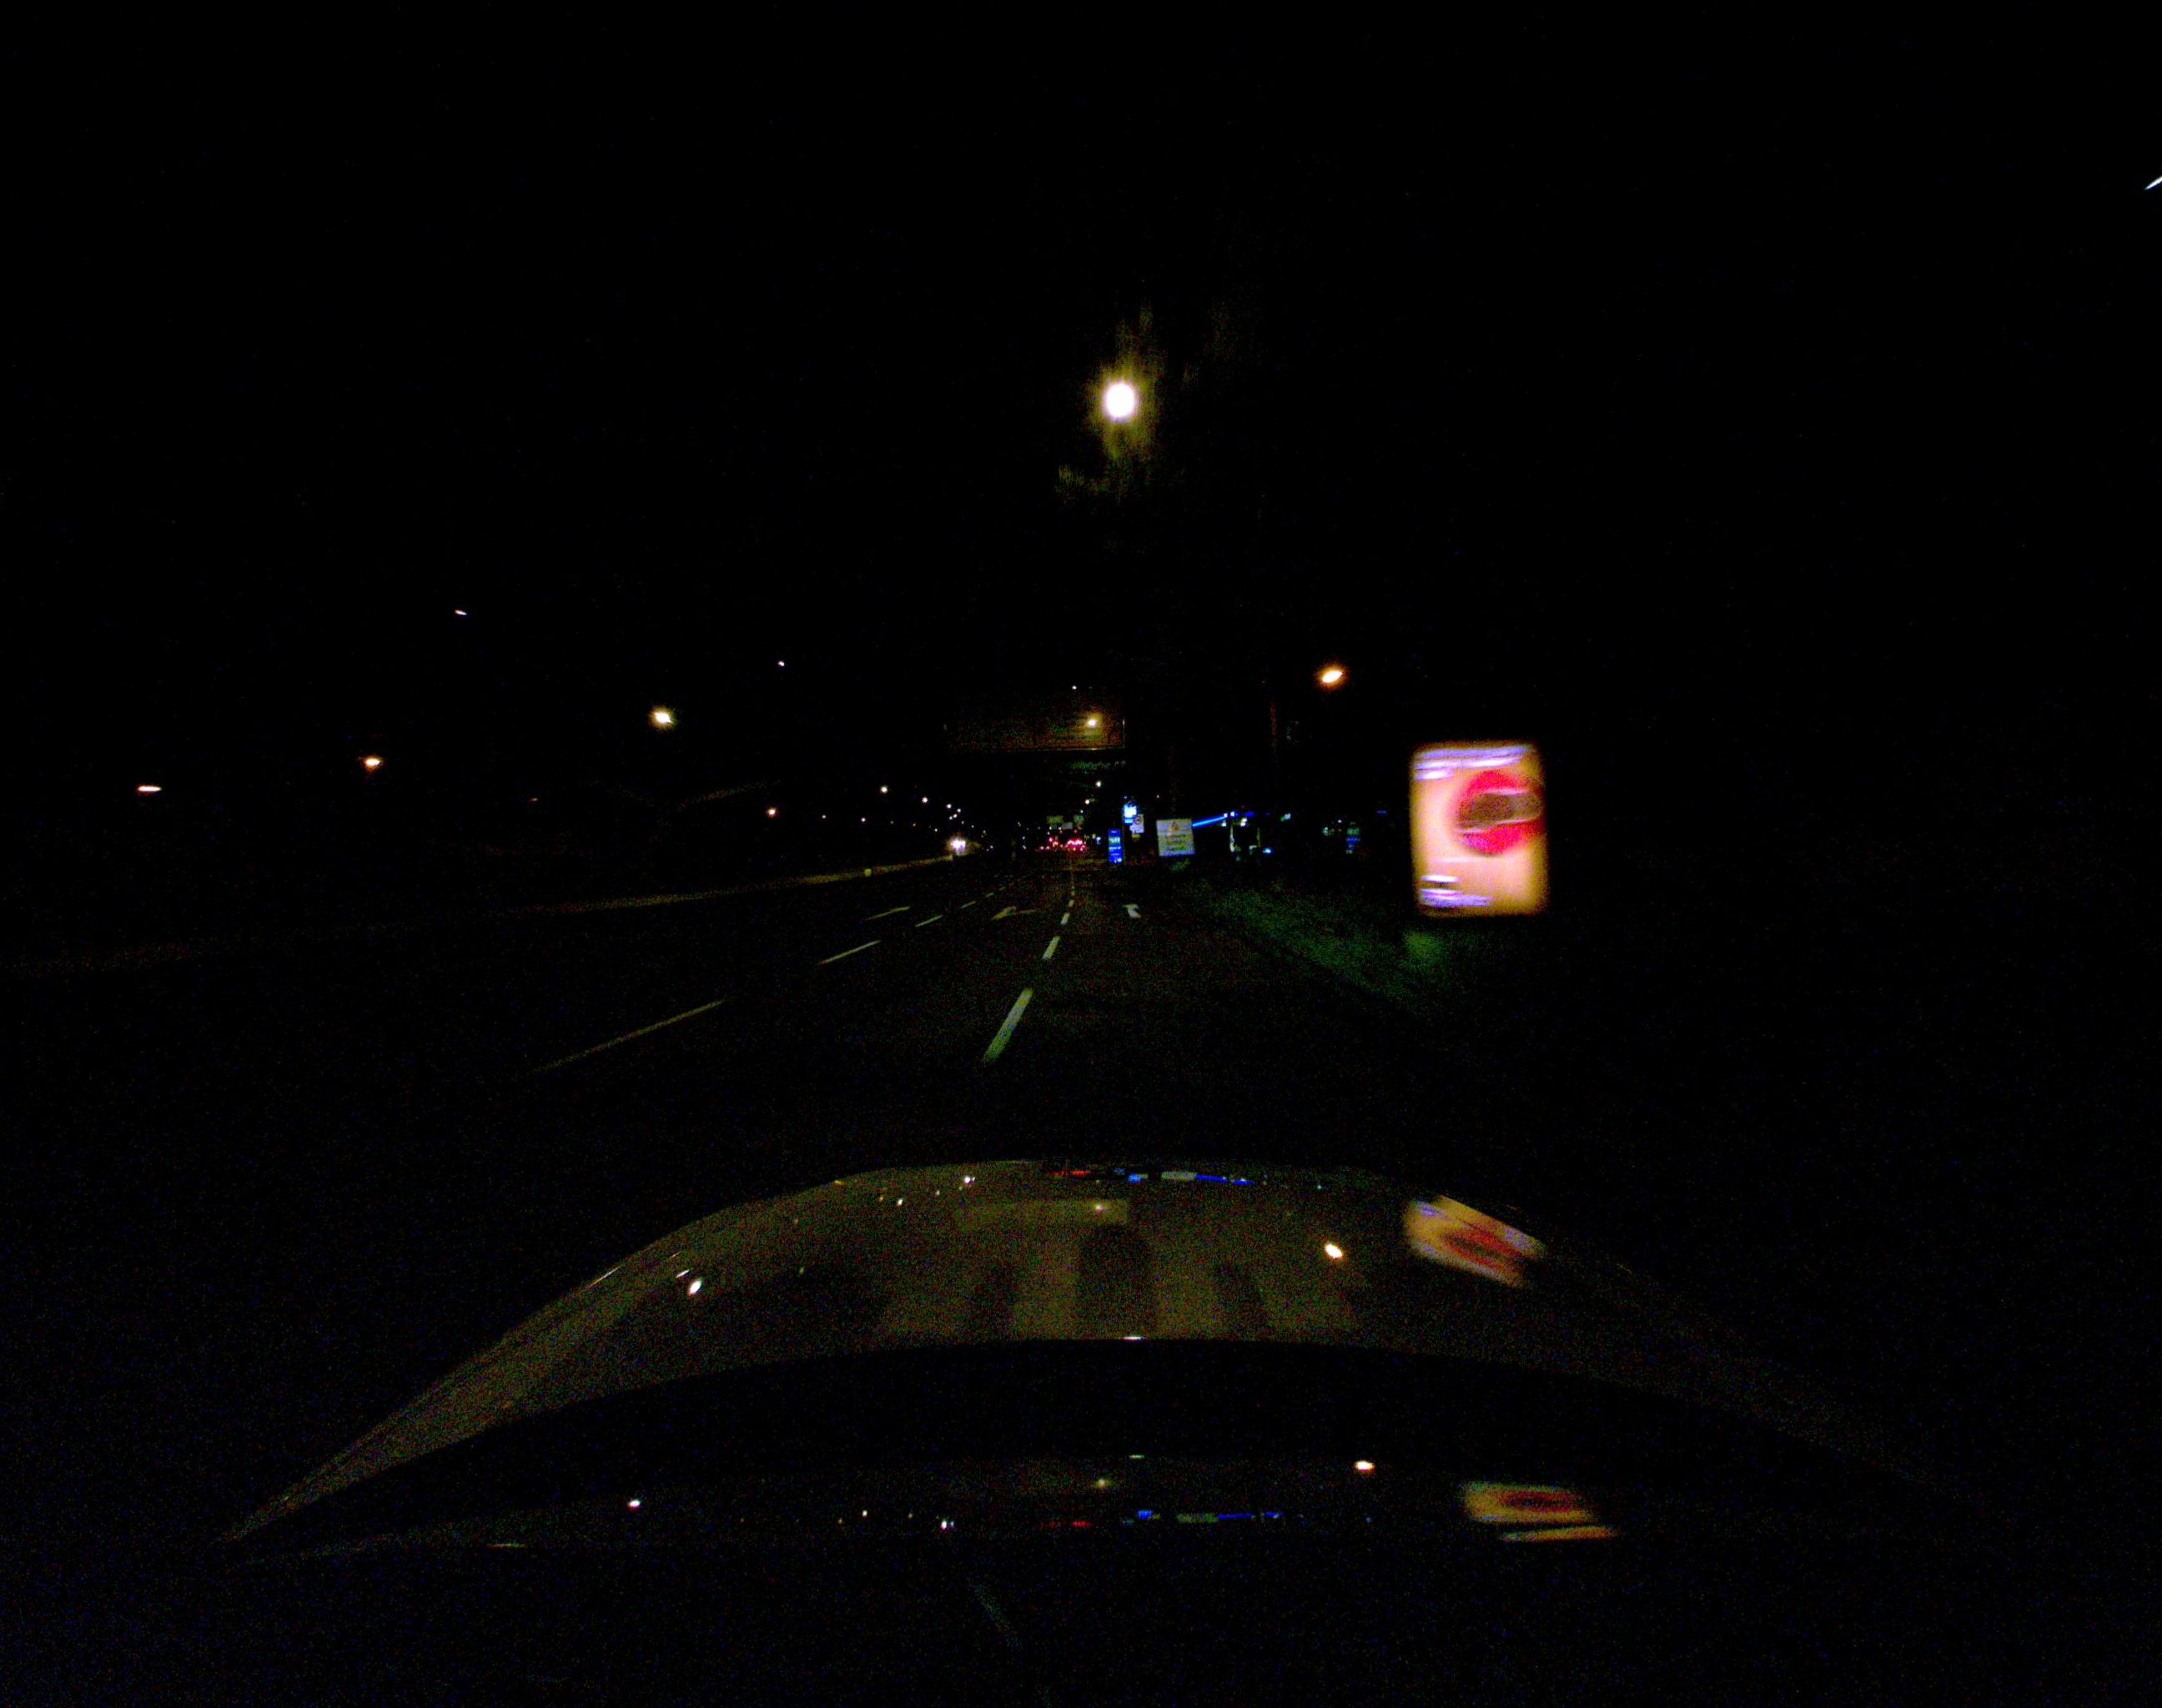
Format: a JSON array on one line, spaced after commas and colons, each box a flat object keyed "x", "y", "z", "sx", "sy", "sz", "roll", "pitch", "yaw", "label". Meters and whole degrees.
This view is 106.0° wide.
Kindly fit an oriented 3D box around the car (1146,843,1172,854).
[{"x": 12.309, "y": -0.862, "z": 128.383, "sx": 3.716, "sy": 1.489, "sz": 1.740, "roll": -4, "pitch": -1, "yaw": -3, "label": "car"}]

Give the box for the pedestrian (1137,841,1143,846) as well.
[{"x": 12.806, "y": -2.200, "z": 176.602, "sx": 0.902, "sy": 1.038, "sz": 0.776, "roll": -2, "pitch": 0, "yaw": 42, "label": "pedestrian"}]

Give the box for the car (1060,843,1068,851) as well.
[{"x": -3.962, "y": -1.618, "z": 194.110, "sx": 1.776, "sy": 1.711, "sz": 4.001, "roll": 0, "pitch": 0, "yaw": 1, "label": "car"}]

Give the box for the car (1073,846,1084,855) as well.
[{"x": -0.490, "y": -0.758, "z": 159.564, "sx": 1.961, "sy": 1.711, "sz": 4.001, "roll": 0, "pitch": 0, "yaw": 1, "label": "car"}]

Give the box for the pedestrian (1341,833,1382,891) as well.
[{"x": 8.457, "y": 0.234, "z": 24.573, "sx": 0.850, "sy": 1.707, "sz": 0.957, "roll": -1, "pitch": -1, "yaw": 0, "label": "pedestrian"}]

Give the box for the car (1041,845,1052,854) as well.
[{"x": -7.054, "y": -0.887, "z": 166.705, "sx": 1.961, "sy": 1.711, "sz": 4.001, "roll": 0, "pitch": 0, "yaw": 1, "label": "car"}]

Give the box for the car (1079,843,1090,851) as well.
[{"x": 0.816, "y": -1.698, "z": 205.260, "sx": 2.642, "sy": 2.014, "sz": 5.300, "roll": 0, "pitch": 0, "yaw": 1, "label": "car"}]

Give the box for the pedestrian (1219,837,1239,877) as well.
[{"x": 7.381, "y": 0.156, "z": 40.608, "sx": 0.800, "sy": 1.913, "sz": 0.795, "roll": -4, "pitch": 0, "yaw": 9, "label": "pedestrian"}]
